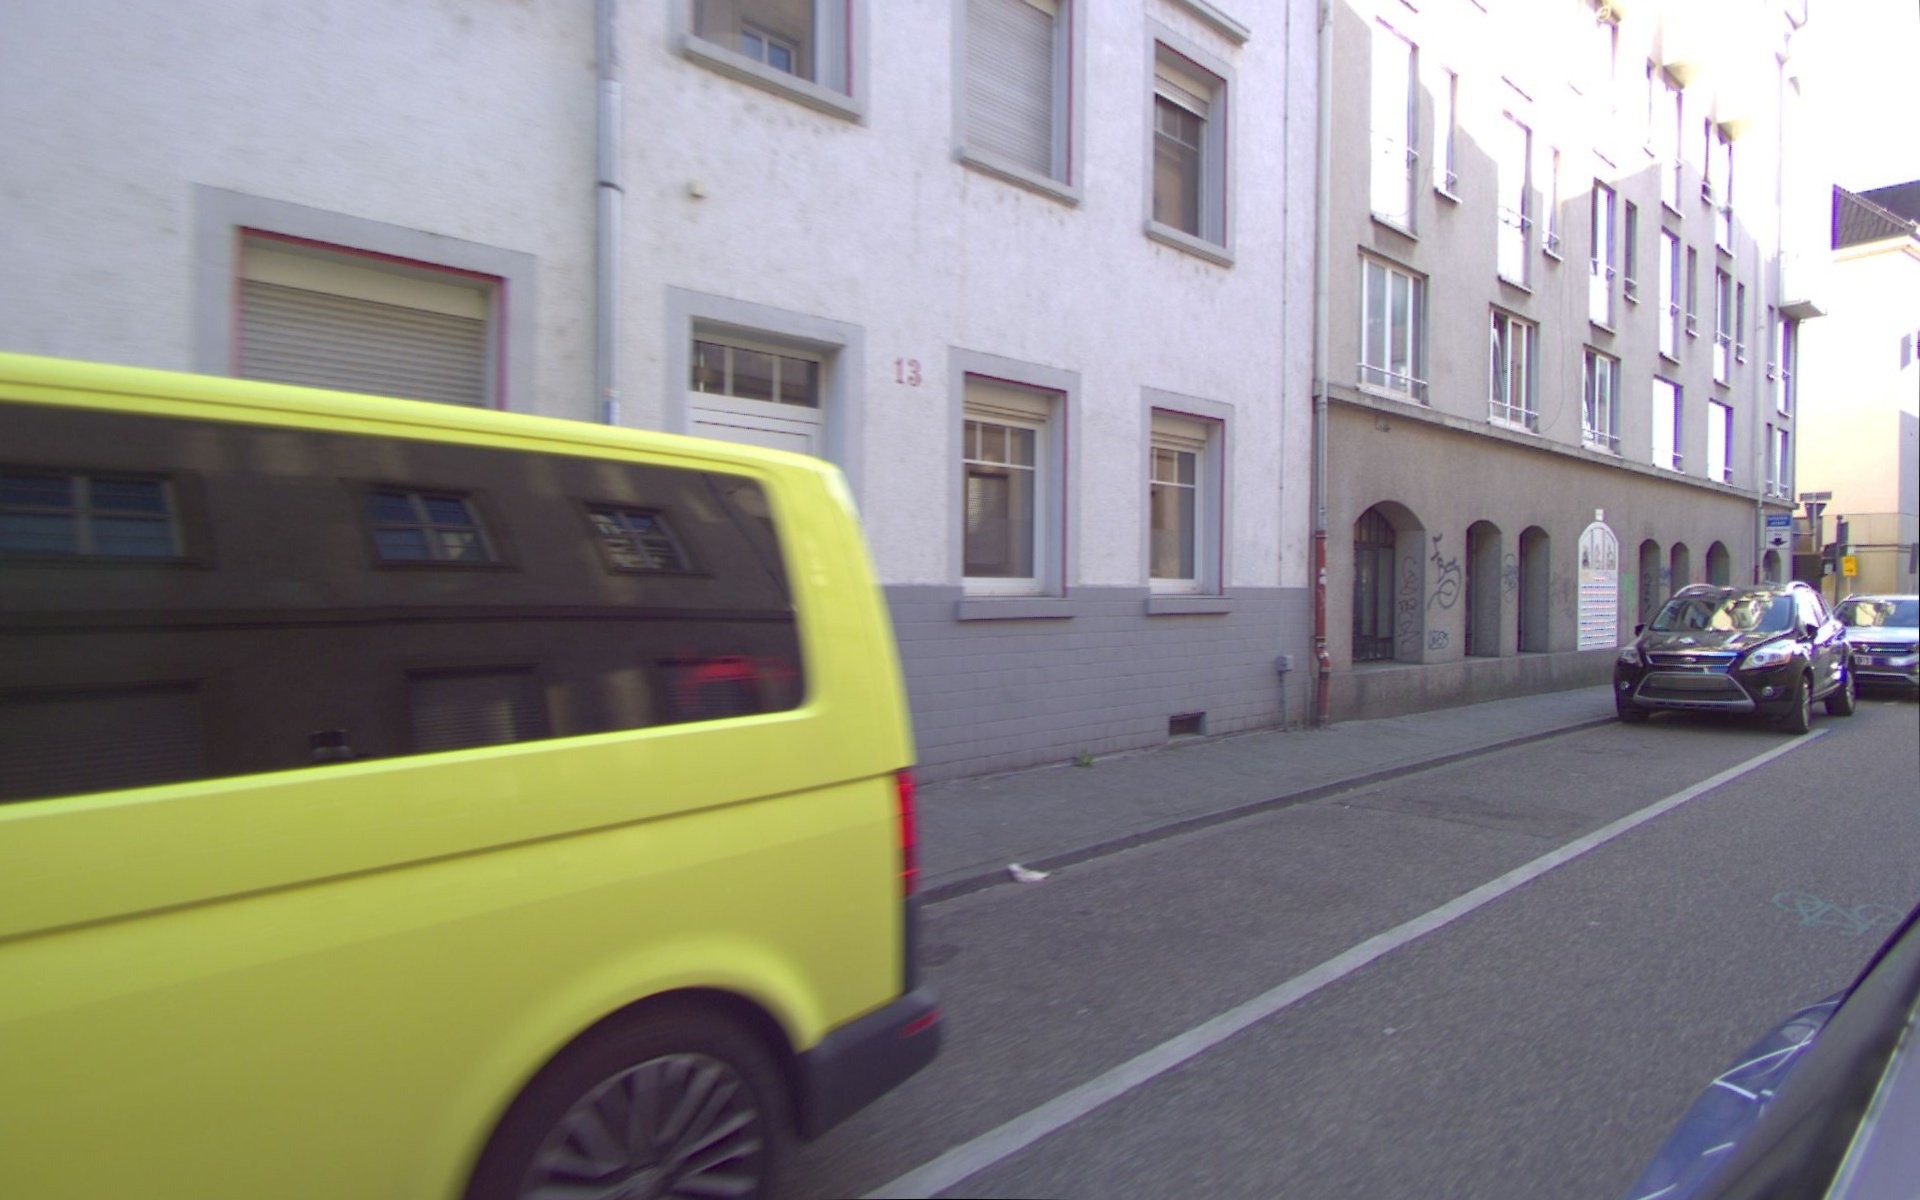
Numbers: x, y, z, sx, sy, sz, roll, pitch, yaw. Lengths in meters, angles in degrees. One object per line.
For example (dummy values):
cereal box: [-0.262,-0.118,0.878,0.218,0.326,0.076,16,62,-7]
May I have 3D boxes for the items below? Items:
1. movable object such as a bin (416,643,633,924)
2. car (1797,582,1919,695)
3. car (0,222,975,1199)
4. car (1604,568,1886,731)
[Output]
movable object such as a bin: [-2.007,0.787,4.665,0.626,1.063,0.698,7,5,42]
car: [14.743,0.527,15.762,3.913,1.579,1.830,0,0,-38]
car: [-2.322,0.468,1.554,4.765,1.905,1.885,0,0,-44]
car: [9.816,0.492,12.532,4.413,1.675,1.829,0,0,-39]
